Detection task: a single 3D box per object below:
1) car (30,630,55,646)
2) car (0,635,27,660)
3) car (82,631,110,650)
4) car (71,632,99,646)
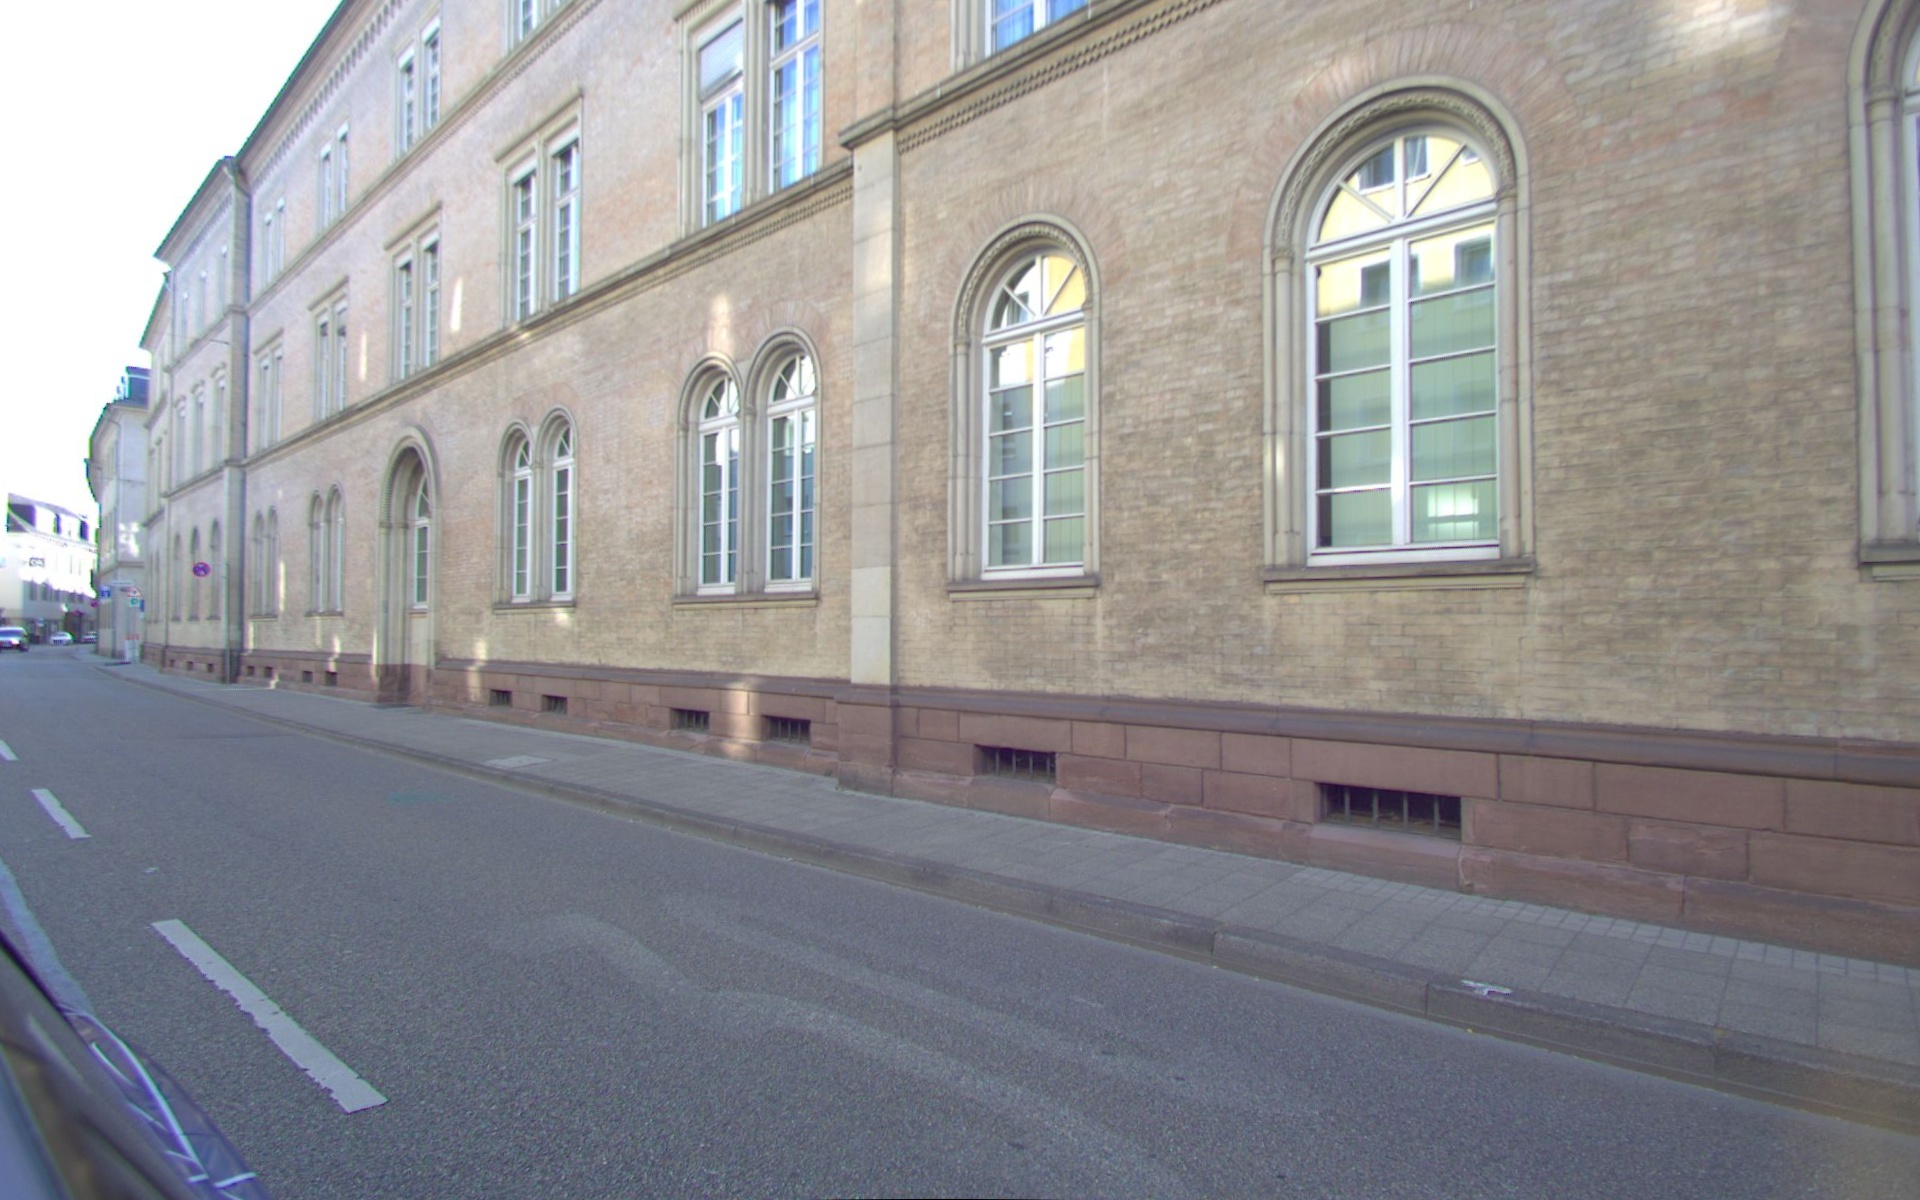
[{"bbox_3d":[-102.443,4.219,112.987,1.511,1.737,3.749,1,-2,-34],"label":"car"},{"bbox_3d":[-69.362,3.449,73.616,1.894,1.735,4.969,1,-2,-39],"label":"car"},{"bbox_3d":[-80.252,3.776,94.002,1.638,1.737,3.748,1,-2,-36],"label":"car"},{"bbox_3d":[-109.339,4.890,126.477,1.896,1.737,4.242,1,-2,-31],"label":"car"}]
